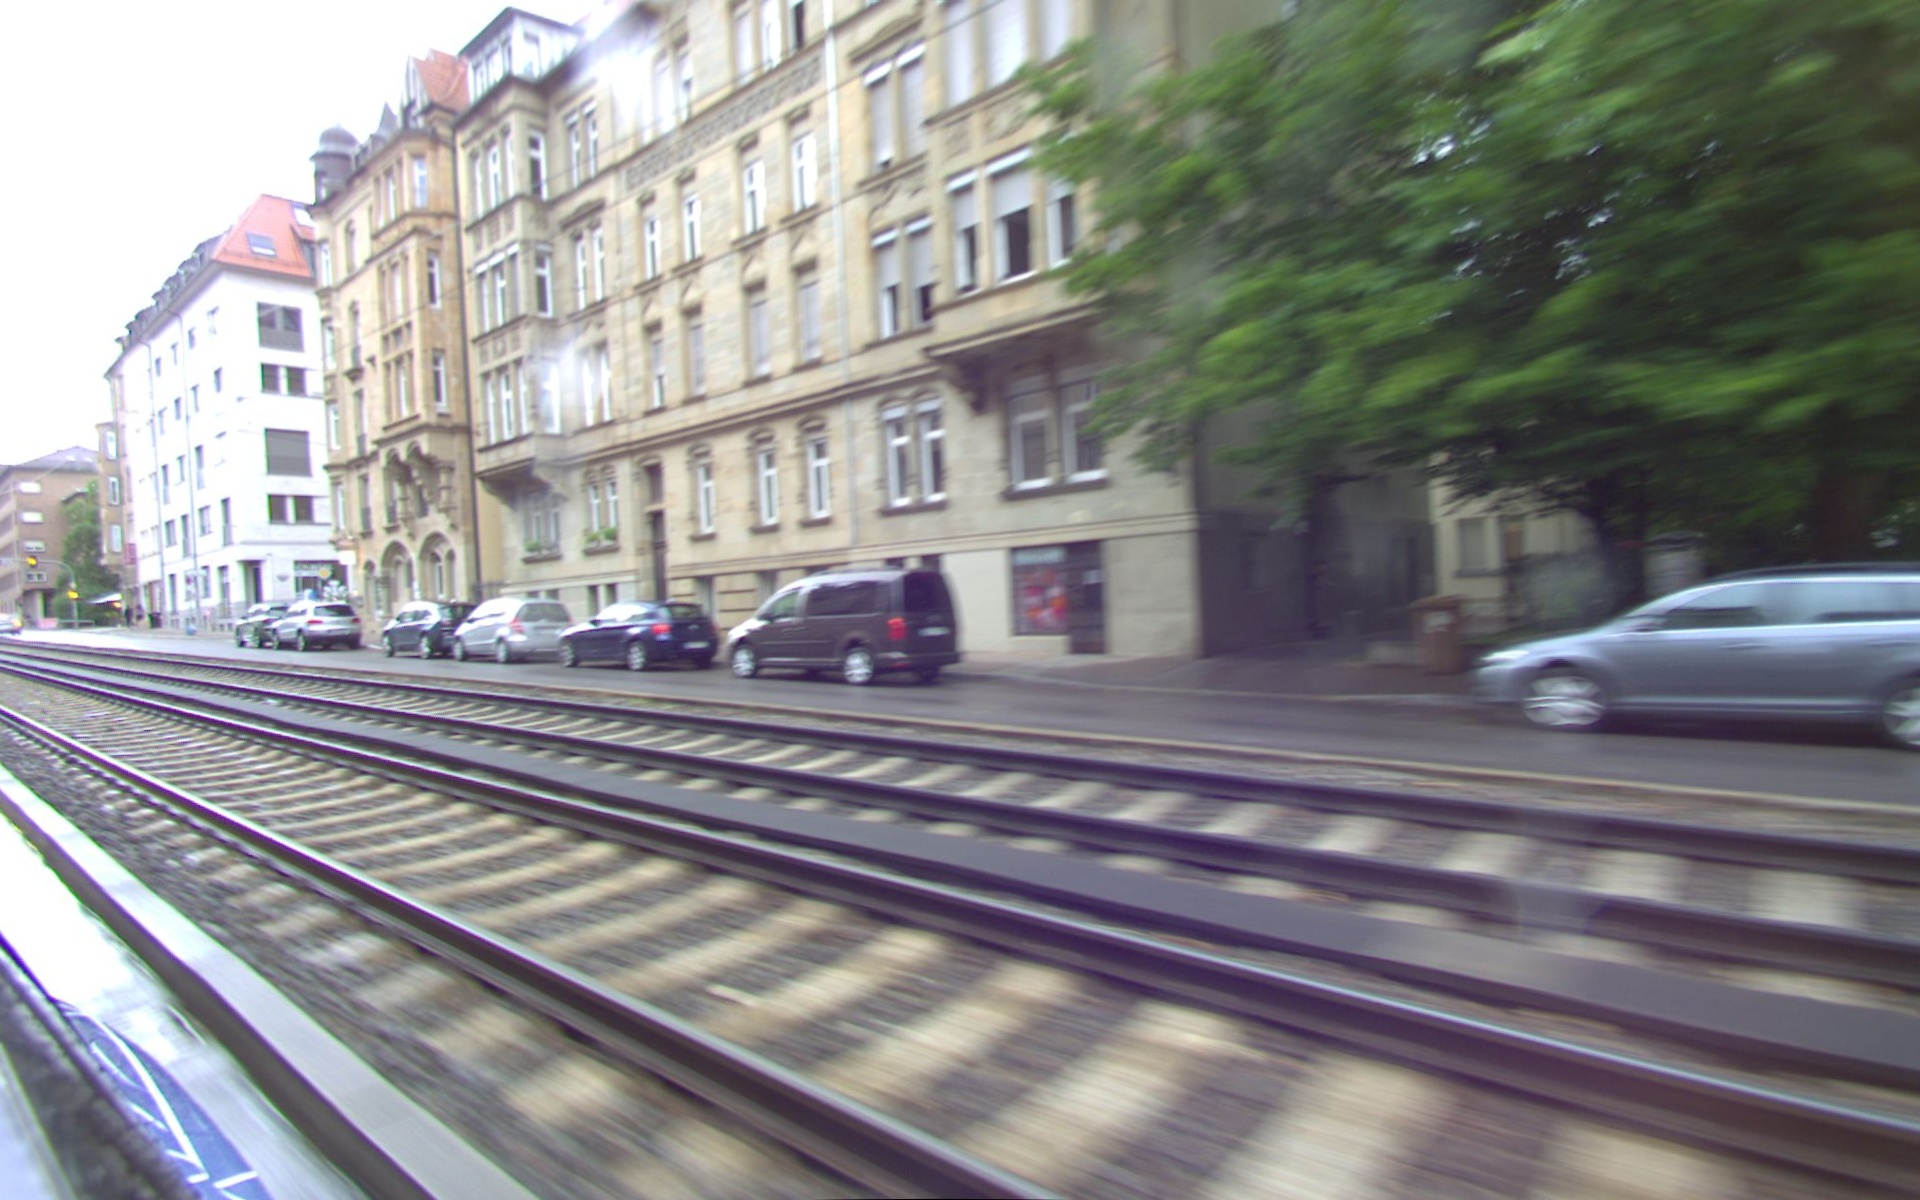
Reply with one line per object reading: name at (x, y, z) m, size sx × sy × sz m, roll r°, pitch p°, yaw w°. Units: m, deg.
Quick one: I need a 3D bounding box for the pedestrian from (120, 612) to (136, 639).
pedestrian at (-54.535, 1.647, 66.353) m, size 0.746 × 1.731 × 0.595 m, roll -1°, pitch 3°, yaw 44°

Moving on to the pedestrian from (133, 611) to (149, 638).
pedestrian at (-54.108, 1.593, 66.856) m, size 0.658 × 1.731 × 0.595 m, roll -2°, pitch 3°, yaw 44°

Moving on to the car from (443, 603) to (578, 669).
car at (-11.317, 0.879, 25.386) m, size 3.854 × 1.535 × 1.677 m, roll -1°, pitch -1°, yaw 42°

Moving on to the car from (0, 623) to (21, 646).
car at (-66.125, 2.367, 69.490) m, size 4.291 × 1.468 × 1.961 m, roll -1°, pitch -1°, yaw 40°

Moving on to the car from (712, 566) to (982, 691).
car at (-2.047, 0.470, 17.230) m, size 4.816 × 1.861 × 1.782 m, roll -2°, pitch -1°, yaw 41°

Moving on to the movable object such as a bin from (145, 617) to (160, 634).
movable object such as a bin at (-53.533, 1.682, 67.085) m, size 0.563 × 1.088 × 0.623 m, roll -2°, pitch 4°, yaw 41°

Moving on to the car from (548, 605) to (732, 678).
car at (-6.893, 0.839, 21.567) m, size 4.266 × 1.409 × 1.744 m, roll -2°, pitch -1°, yaw 40°

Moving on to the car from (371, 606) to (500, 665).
car at (-14.902, 0.977, 28.644) m, size 4.167 × 1.519 × 1.851 m, roll -1°, pitch 0°, yaw 41°

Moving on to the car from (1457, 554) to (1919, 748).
car at (7.128, 0.416, 9.016) m, size 4.546 × 1.475 × 1.830 m, roll -1°, pitch -2°, yaw 40°

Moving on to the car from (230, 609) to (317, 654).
car at (-26.210, 1.177, 38.585) m, size 4.430 × 1.614 × 1.838 m, roll -1°, pitch -1°, yaw 43°

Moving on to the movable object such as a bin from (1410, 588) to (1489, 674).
movable object such as a bin at (6.748, 0.413, 13.949) m, size 0.773 × 1.128 × 0.709 m, roll -2°, pitch 1°, yaw 43°

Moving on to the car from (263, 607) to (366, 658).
car at (-22.686, 1.126, 35.519) m, size 4.312 × 1.665 × 1.840 m, roll -1°, pitch 0°, yaw 40°
